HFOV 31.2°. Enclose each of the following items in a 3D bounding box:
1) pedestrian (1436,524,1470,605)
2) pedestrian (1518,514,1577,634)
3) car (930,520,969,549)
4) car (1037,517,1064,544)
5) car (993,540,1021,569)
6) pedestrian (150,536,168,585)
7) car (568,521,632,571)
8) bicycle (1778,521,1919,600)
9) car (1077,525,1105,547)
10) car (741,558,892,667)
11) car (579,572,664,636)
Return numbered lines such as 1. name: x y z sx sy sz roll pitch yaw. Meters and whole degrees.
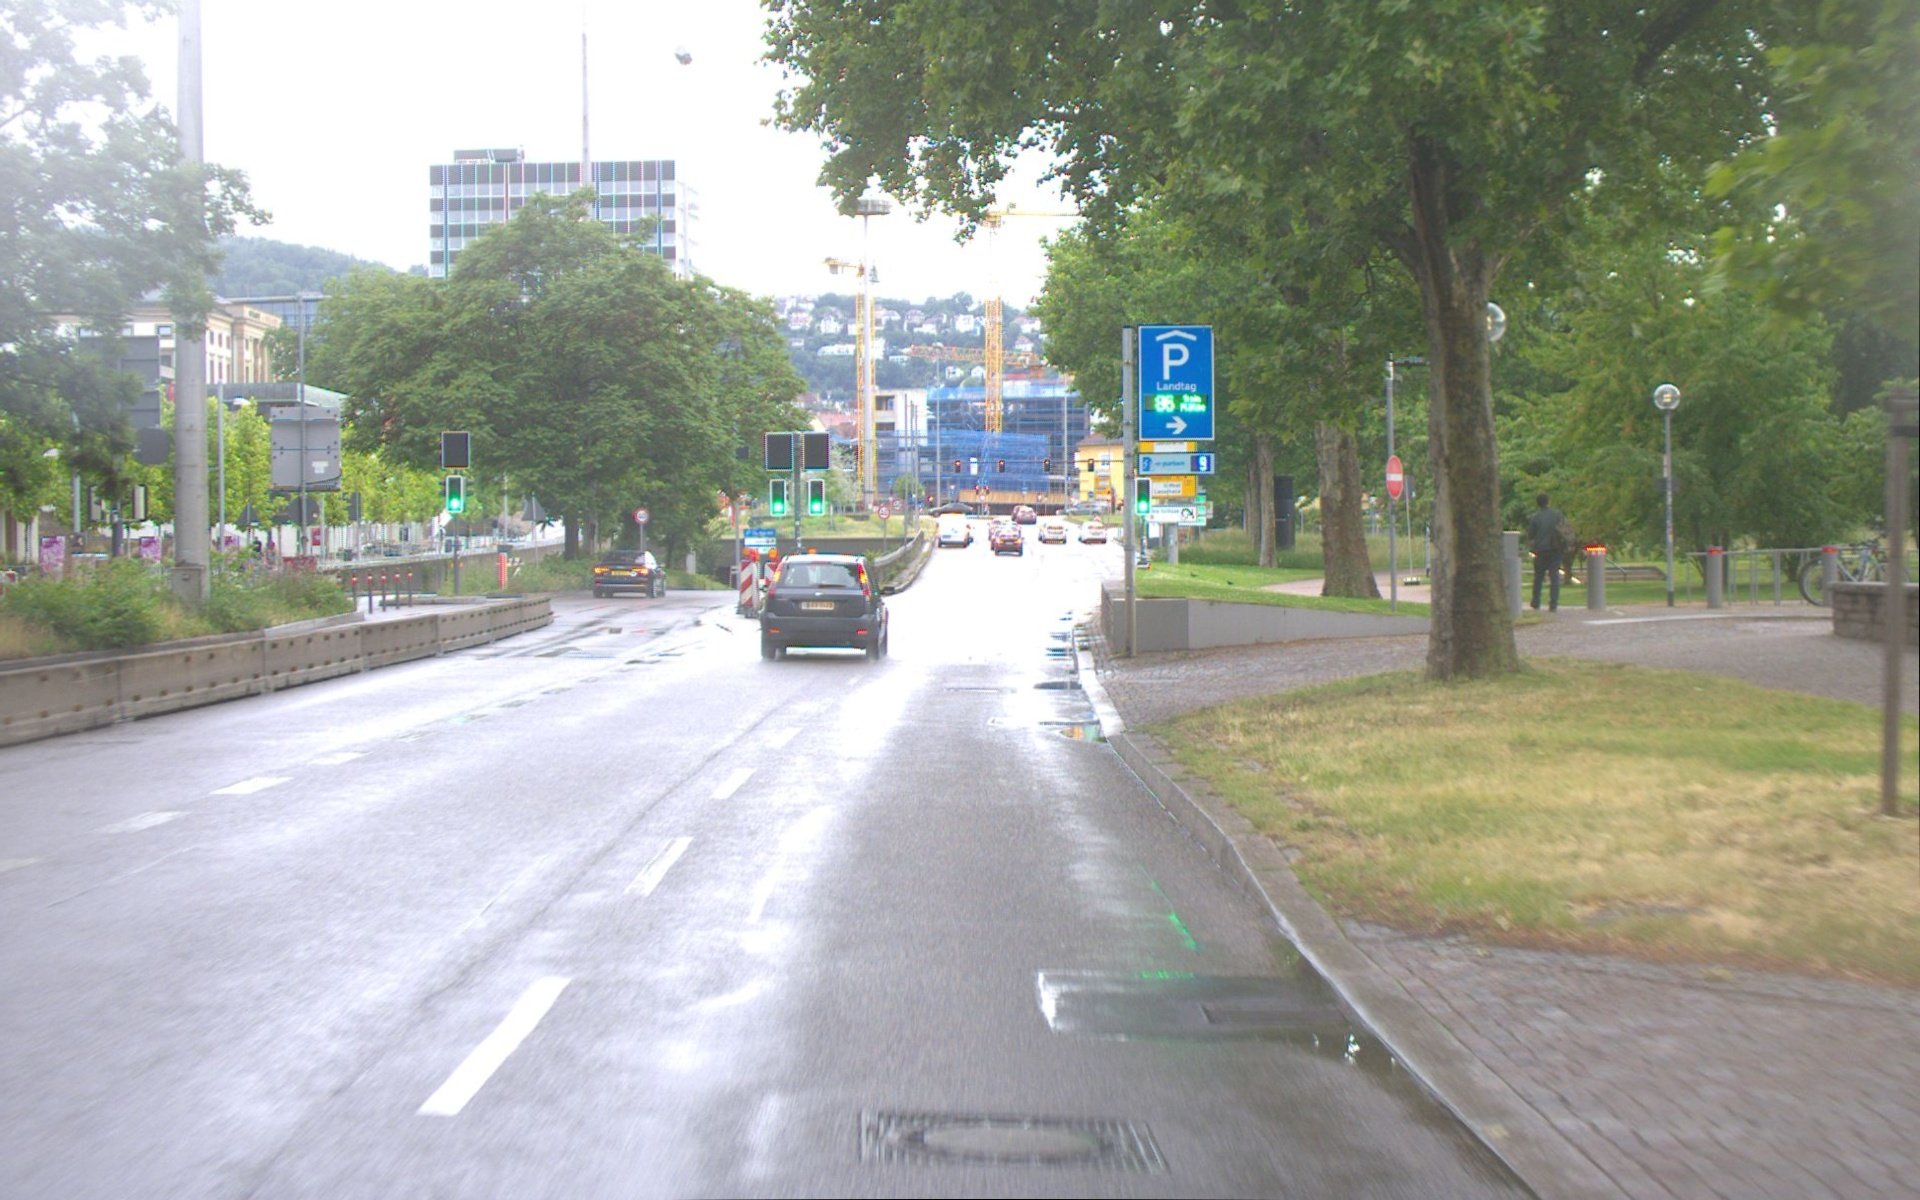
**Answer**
1. pedestrian: 10.896 -0.784 76.004 0.594 1.749 0.725 -2 2 -2
2. pedestrian: 8.557 -0.388 50.075 0.705 1.712 0.692 -2 1 1
3. car: -0.719 -4.570 240.120 2.220 2.007 3.999 0 1 7
4. car: 6.759 -5.180 256.241 1.987 2.007 4.000 0 1 1
5. car: 3.026 -2.945 221.305 1.739 1.765 4.000 -2 0 0
6. pedestrian: -33.594 -1.657 144.116 0.539 2.006 0.531 -2 2 -34
7. car: -11.880 -1.775 113.658 1.993 1.626 4.001 0 1 -4
8. bicycle: 13.598 -0.605 52.319 2.034 1.169 0.960 -1 2 -10
9. car: 9.854 -4.817 258.845 1.994 1.594 4.000 -2 0 3
10. car: -2.051 0.171 48.187 1.843 1.411 3.840 -2 0 -6
11. car: -9.945 0.096 101.294 1.993 1.775 4.000 -1 1 2
